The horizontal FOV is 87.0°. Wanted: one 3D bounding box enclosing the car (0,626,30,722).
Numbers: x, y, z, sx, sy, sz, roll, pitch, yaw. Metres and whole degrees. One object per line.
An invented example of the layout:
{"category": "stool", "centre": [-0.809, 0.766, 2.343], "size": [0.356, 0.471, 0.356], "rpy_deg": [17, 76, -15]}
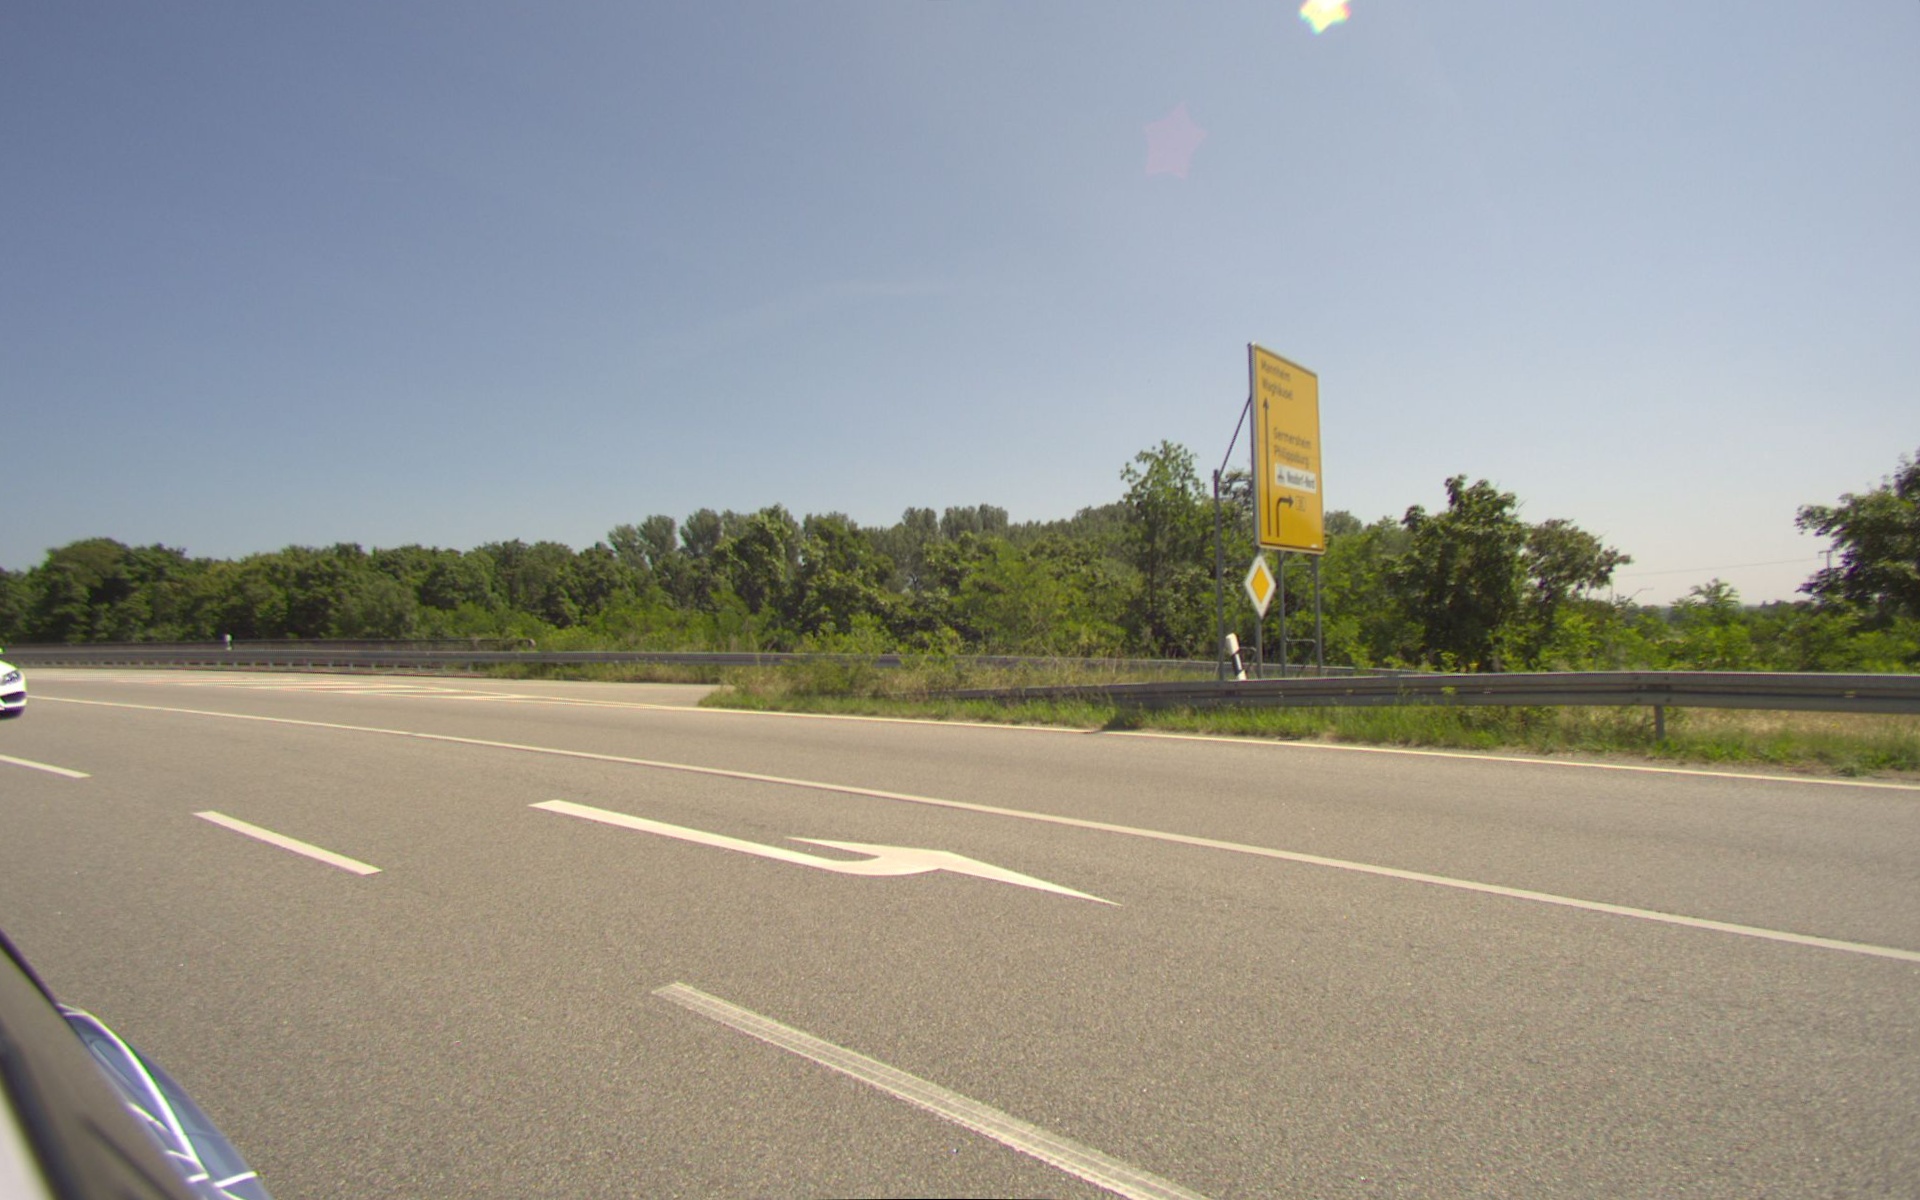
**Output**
{"category": "car", "centre": [-16.364, 1.174, 15.694], "size": [4.095, 1.426, 1.795], "rpy_deg": [-2, -1, 31]}
